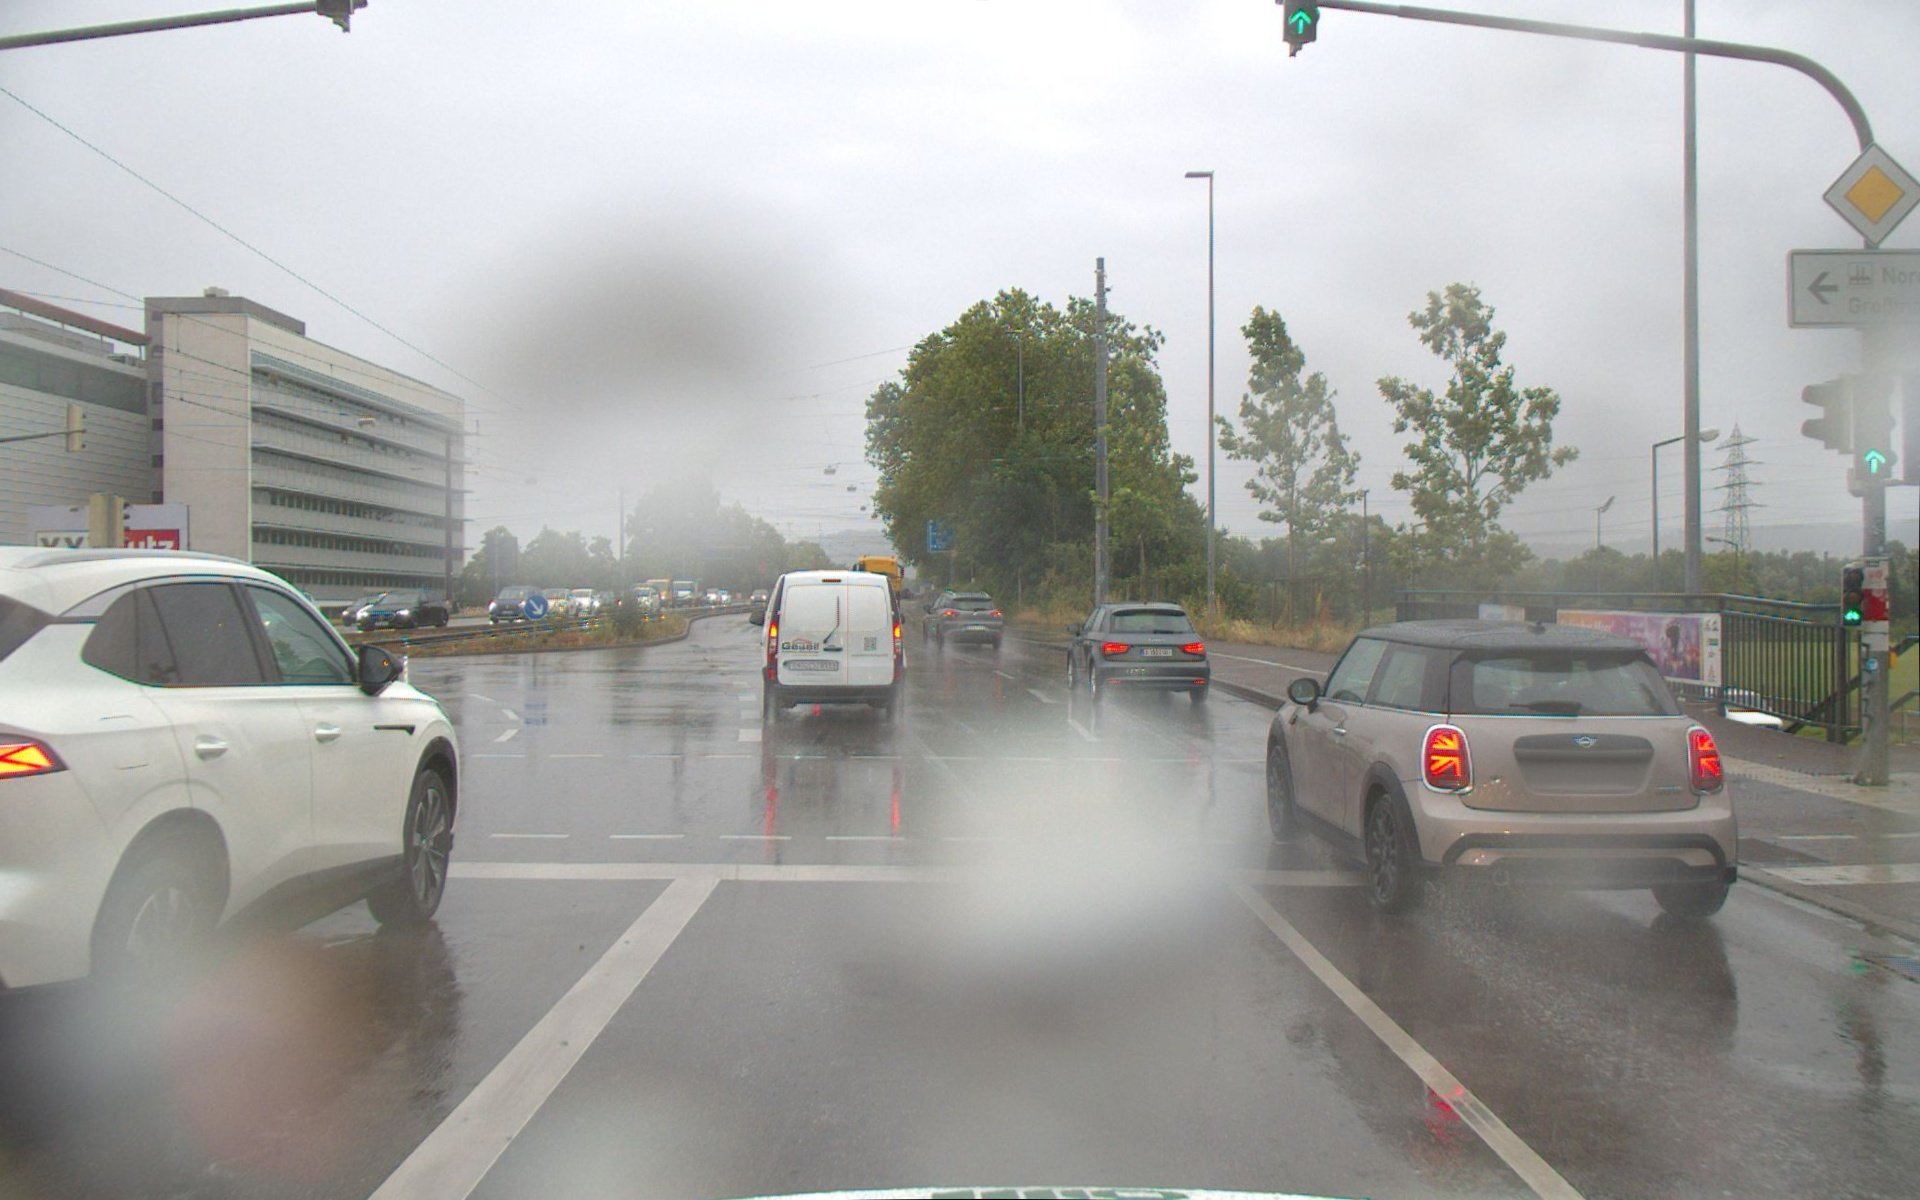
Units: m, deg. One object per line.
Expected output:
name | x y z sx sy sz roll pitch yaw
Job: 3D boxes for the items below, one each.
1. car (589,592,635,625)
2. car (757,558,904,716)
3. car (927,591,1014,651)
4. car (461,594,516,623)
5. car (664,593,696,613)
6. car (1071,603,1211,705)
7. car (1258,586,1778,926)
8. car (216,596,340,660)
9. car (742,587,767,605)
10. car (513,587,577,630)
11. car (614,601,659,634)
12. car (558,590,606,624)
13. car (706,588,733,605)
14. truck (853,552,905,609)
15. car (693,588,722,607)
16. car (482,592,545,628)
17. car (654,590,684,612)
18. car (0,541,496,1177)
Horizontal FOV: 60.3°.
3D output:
car | -20.455 0.501 97.419 1.786 1.839 3.769 1 -1 2
car | -1.572 0.438 21.208 1.534 1.819 4.000 0 0 0
car | 0.240 0.520 43.560 1.824 1.453 3.802 1 0 -7
car | -25.381 0.482 89.093 1.733 1.513 3.841 1 -1 2
car | -23.885 0.258 141.213 1.952 1.692 4.001 1 -1 2
car | 2.590 0.755 24.386 1.596 1.368 3.623 1 0 -1
car | 2.890 0.718 9.401 1.678 1.534 3.623 1 0 -1
car | -21.039 0.860 51.172 1.888 1.859 4.002 1 -1 5
car | -21.354 -0.419 171.893 1.952 1.788 4.001 1 -1 2
car | -20.793 0.429 82.954 1.952 2.049 4.001 1 -1 3
car | -20.788 1.106 106.384 1.952 2.049 4.001 1 -1 2
car | -23.766 0.456 104.229 1.952 2.049 4.001 1 -1 2
car | -23.796 -0.312 163.759 1.952 1.614 4.001 1 -1 2
truck | -4.403 -0.990 88.867 2.581 2.865 7.138 1 -1 -5
car | -23.822 -0.212 156.022 1.952 1.738 4.001 1 -1 2
car | -20.500 0.459 76.057 1.726 1.577 3.680 1 -1 2
car | -23.571 0.088 133.986 1.682 1.734 3.478 1 -1 2
car | -3.172 0.609 6.191 1.693 1.562 4.297 1 0 -1
